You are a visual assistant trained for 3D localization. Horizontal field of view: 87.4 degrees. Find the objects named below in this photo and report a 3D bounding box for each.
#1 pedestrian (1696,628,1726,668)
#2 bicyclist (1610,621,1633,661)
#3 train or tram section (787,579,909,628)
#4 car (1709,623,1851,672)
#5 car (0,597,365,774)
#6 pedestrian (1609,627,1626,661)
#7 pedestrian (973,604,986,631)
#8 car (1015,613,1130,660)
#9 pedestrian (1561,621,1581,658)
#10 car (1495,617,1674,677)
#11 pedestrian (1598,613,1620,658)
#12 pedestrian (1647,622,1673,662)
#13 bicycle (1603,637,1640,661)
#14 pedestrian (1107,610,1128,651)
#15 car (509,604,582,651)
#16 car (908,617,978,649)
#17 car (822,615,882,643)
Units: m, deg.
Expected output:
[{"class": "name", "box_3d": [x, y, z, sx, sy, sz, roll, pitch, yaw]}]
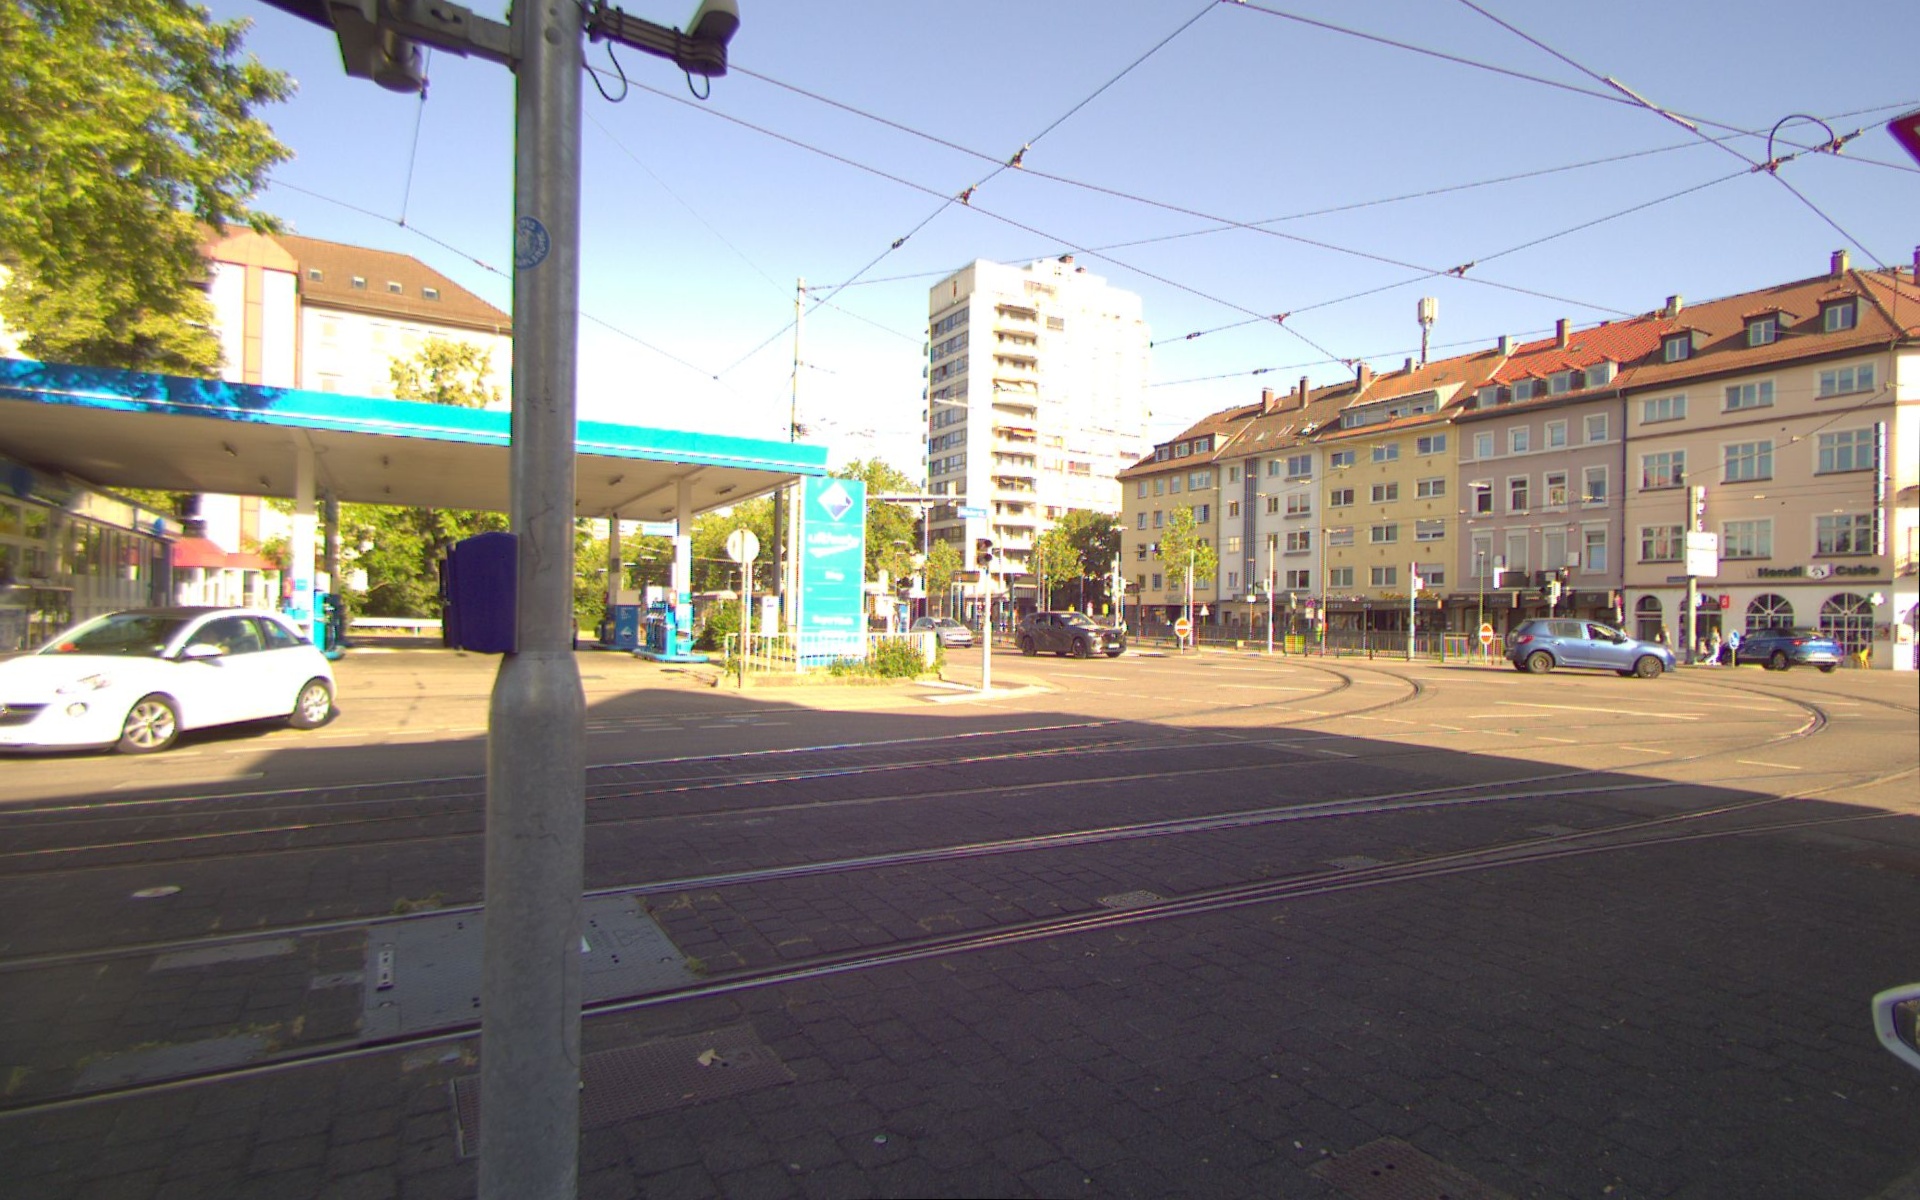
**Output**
[{"class": "pedestrian", "box_3d": [30.739, 1.955, 41.113, 0.805, 1.615, 0.665, 2, 0, -30]}, {"class": "bicyclist", "box_3d": [30.626, 1.878, 46.483, 0.606, 1.814, 0.619, 2, 0, -25]}, {"class": "train or tram section", "box_3d": [-8.743, 0.162, 75.073, 2.821, 3.179, 16.611, 2, 0, -29]}, {"class": "car", "box_3d": [29.577, 1.683, 36.429, 1.795, 1.596, 4.200, 1, 0, 2]}, {"class": "car", "box_3d": [-8.805, 0.787, 11.286, 1.709, 1.455, 3.936, 3, 2, 3]}, {"class": "pedestrian", "box_3d": [28.376, 1.889, 43.360, 0.620, 1.438, 0.399, 2, 0, -36]}, {"class": "pedestrian", "box_3d": [1.598, 1.390, 81.069, 0.729, 2.127, 0.880, 2, 0, -21]}, {"class": "car", "box_3d": [4.063, 1.317, 37.012, 1.854, 1.623, 4.415, 2, -2, -32]}, {"class": "pedestrian", "box_3d": [25.716, 1.659, 42.302, 0.550, 1.512, 0.489, 2, 0, -30]}, {"class": "car", "box_3d": [17.020, 1.268, 27.588, 3.842, 1.523, 1.791, 0, -2, 19]}, {"class": "pedestrian", "box_3d": [26.911, 1.469, 41.646, 0.671, 1.847, 0.523, 2, 0, -38]}, {"class": "pedestrian", "box_3d": [29.790, 1.768, 42.738, 0.831, 1.670, 0.579, 2, 0, -30]}, {"class": "bicycle", "box_3d": [30.599, 2.278, 46.477, 1.731, 1.044, 0.619, 2, 0, -25]}, {"class": "pedestrian", "box_3d": [6.418, 1.241, 40.919, 0.750, 1.631, 0.613, 2, 0, 15]}, {"class": "car", "box_3d": [-13.510, 0.864, 32.651, 1.659, 1.372, 3.559, 2, 0, -31]}, {"class": "car", "box_3d": [-0.867, 1.545, 47.787, 1.712, 1.408, 4.201, 1, -1, -26]}, {"class": "car", "box_3d": [-6.312, 1.673, 58.414, 1.976, 1.537, 4.177, 1, -1, -29]}]
